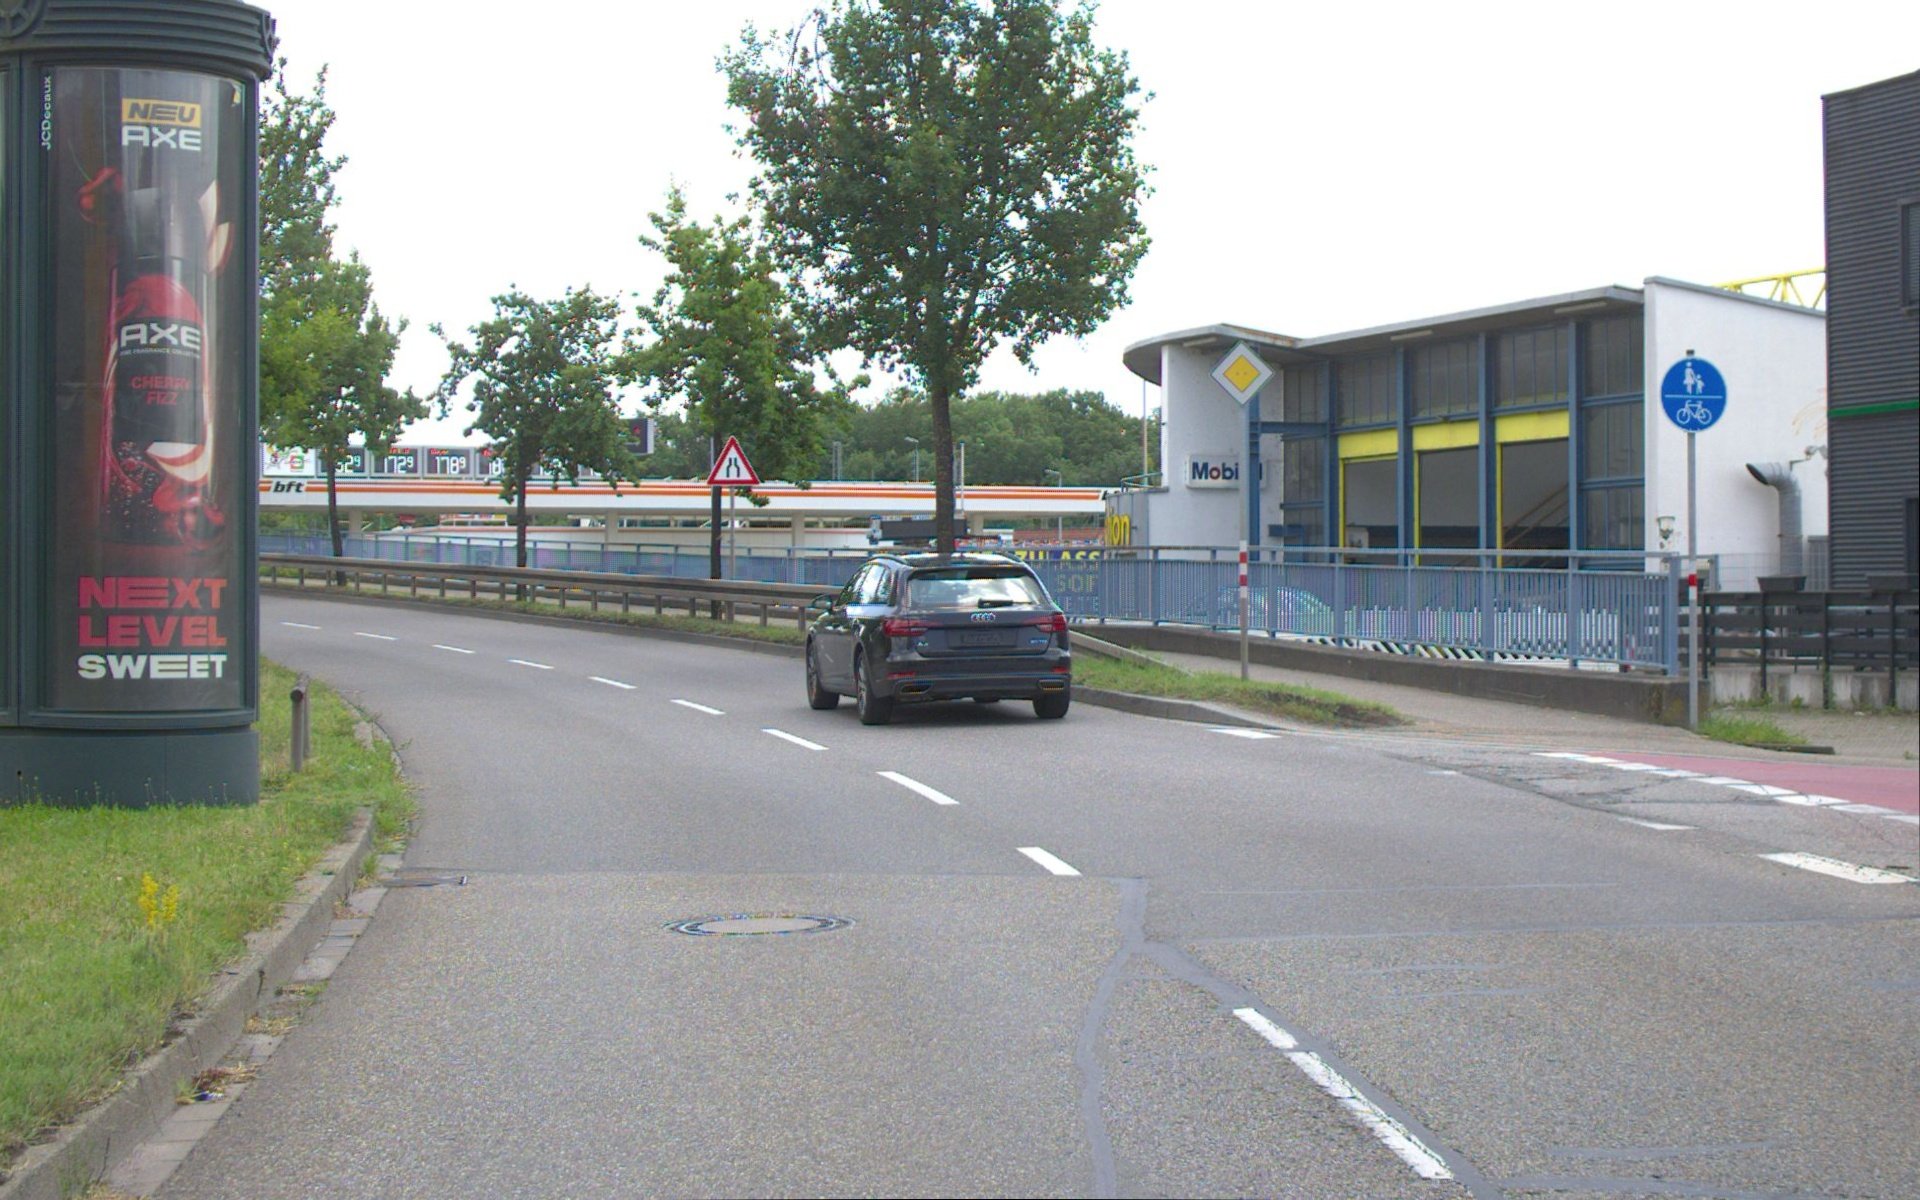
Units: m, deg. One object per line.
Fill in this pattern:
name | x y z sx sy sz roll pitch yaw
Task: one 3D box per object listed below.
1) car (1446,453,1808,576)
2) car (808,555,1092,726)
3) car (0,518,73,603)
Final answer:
car | 11.410 -1.425 58.823 5.801 2.007 2.233 0 0 -22
car | -0.177 0.301 30.464 1.993 1.386 4.577 0 1 -7
car | -23.365 -0.948 85.083 1.993 2.030 4.713 0 0 -24
